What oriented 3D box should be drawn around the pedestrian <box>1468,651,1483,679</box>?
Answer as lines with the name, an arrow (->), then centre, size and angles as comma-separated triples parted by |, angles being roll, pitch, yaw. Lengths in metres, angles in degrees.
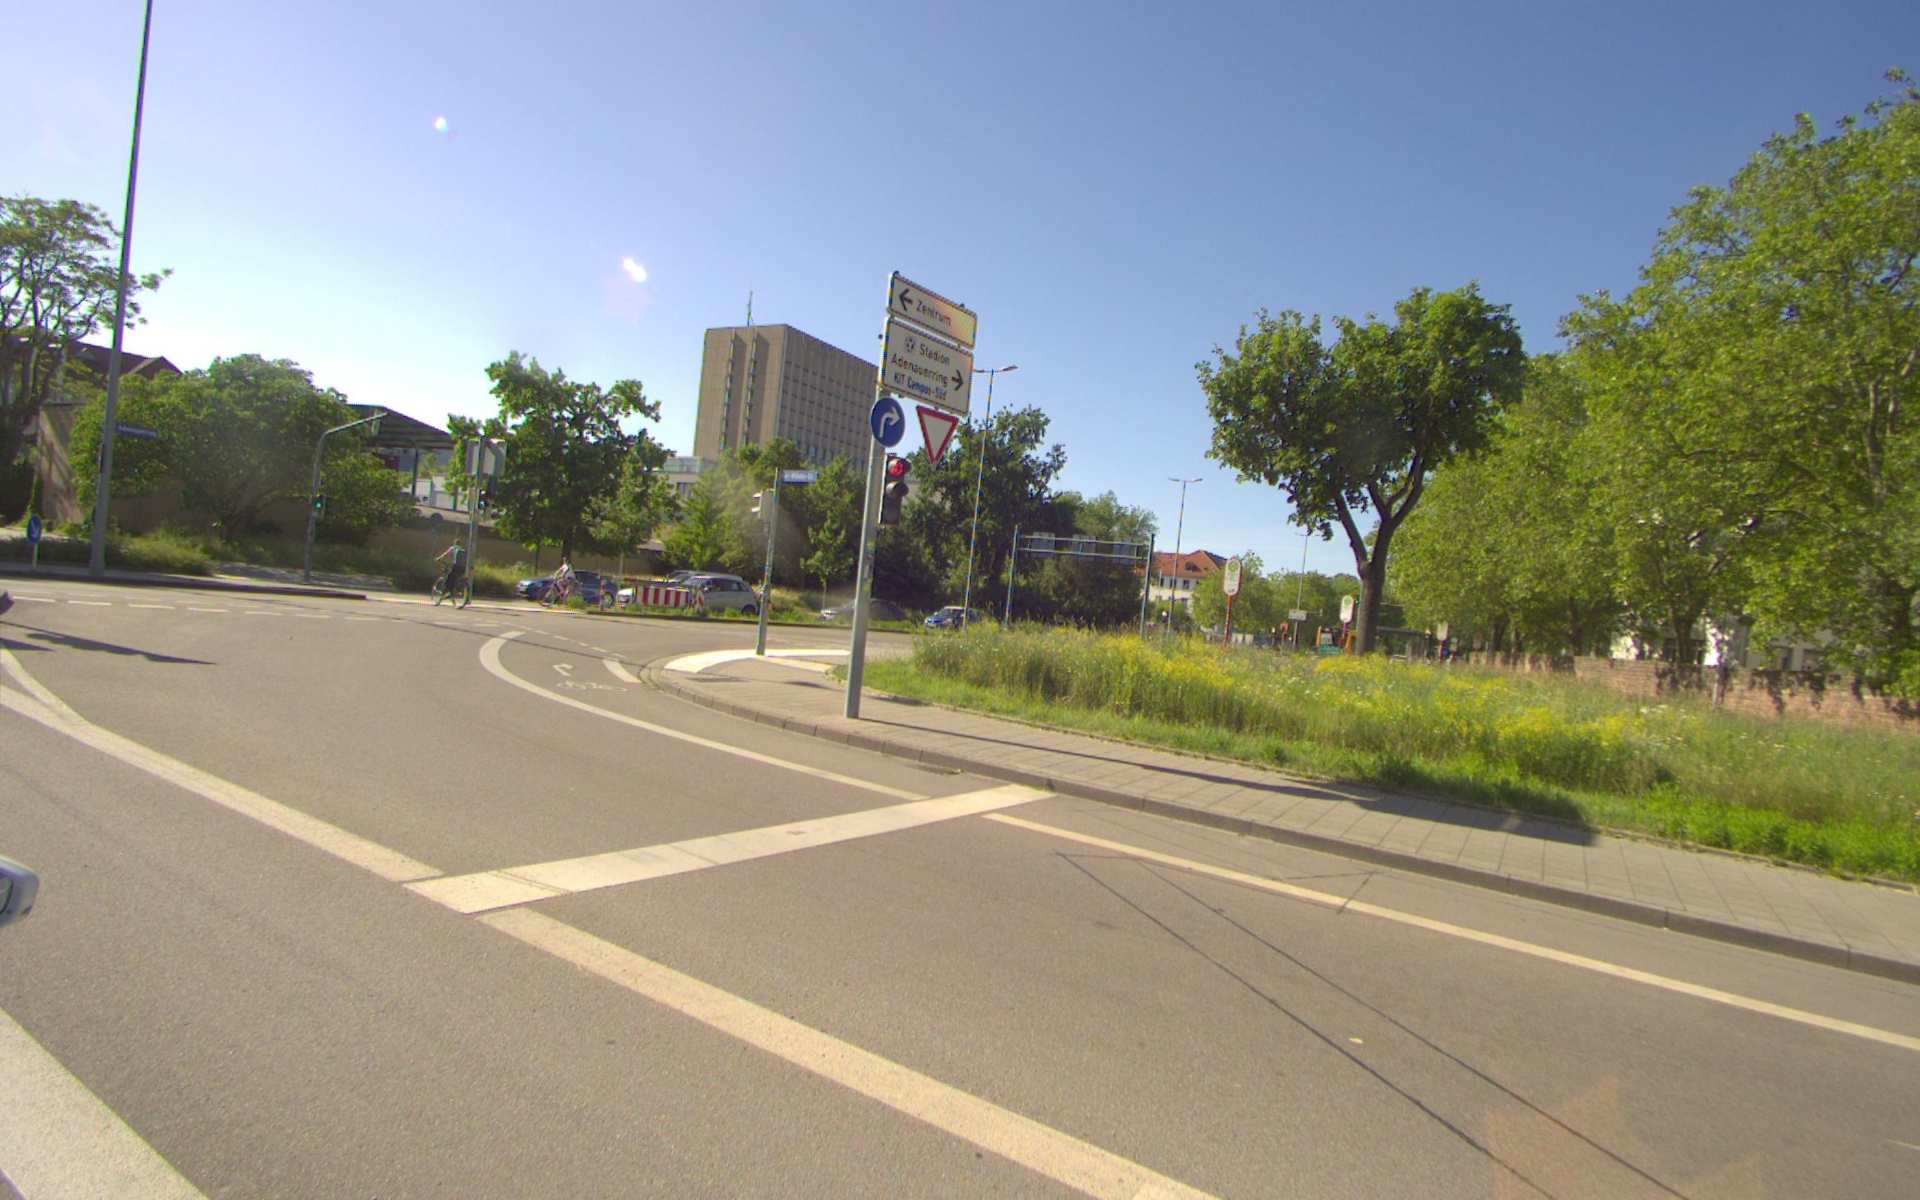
pedestrian -> 31.828, 3.992, 62.138 | 0.642, 1.630, 0.558 | 7, -1, 30

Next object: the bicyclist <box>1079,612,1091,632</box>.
bicyclist -> 11.088, 1.975, 89.442 | 0.632, 1.666, 0.775 | 7, 1, 31

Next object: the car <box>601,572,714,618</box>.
car -> -12.503, -0.178, 41.694 | 1.971, 1.487, 3.982 | 6, 0, 40

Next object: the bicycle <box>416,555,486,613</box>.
bicycle -> -12.571, -0.399, 24.830 | 1.840, 1.180, 0.641 | 8, 3, 34

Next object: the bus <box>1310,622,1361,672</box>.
bus -> 29.946, 3.800, 80.067 | 2.935, 3.310, 6.255 | 7, -2, 26

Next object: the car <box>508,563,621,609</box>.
car -> -16.202, -0.553, 41.353 | 1.679, 1.459, 3.988 | 5, -1, 35

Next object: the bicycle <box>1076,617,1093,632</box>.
bicycle -> 11.100, 2.171, 89.523 | 0.632, 1.179, 1.866 | 7, 0, 31

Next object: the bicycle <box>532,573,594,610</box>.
bicycle -> -13.938, -0.287, 35.350 | 0.736, 1.180, 1.864 | 7, 2, 33

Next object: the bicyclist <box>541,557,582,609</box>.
bicyclist -> -13.961, -0.581, 35.258 | 0.734, 1.707, 0.974 | 7, 2, 34

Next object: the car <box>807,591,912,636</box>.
car -> -4.396, 0.637, 44.628 | 1.953, 1.573, 4.709 | 5, -1, 35

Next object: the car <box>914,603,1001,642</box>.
car -> -0.083, 1.182, 50.743 | 1.953, 1.573, 4.709 | 5, -1, 35

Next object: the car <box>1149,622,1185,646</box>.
car -> 19.095, 3.154, 92.808 | 1.906, 1.821, 4.354 | 5, -1, 29

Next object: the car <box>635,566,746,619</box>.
car -> -12.514, -0.329, 46.961 | 1.909, 1.976, 4.742 | 5, -1, 35

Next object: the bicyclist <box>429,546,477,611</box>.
bicyclist -> -12.488, -0.526, 24.777 | 0.764, 1.463, 0.641 | 8, 3, 34

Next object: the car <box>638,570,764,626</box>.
car -> -9.535, -0.055, 37.345 | 1.762, 1.644, 4.303 | 5, -1, 35

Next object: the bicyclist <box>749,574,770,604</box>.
bicyclist -> -11.808, -0.635, 59.164 | 0.621, 1.617, 0.830 | 10, 4, 33

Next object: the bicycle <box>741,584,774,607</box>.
bicycle -> -11.900, -0.232, 59.127 | 0.632, 1.180, 1.951 | 9, 3, 32
